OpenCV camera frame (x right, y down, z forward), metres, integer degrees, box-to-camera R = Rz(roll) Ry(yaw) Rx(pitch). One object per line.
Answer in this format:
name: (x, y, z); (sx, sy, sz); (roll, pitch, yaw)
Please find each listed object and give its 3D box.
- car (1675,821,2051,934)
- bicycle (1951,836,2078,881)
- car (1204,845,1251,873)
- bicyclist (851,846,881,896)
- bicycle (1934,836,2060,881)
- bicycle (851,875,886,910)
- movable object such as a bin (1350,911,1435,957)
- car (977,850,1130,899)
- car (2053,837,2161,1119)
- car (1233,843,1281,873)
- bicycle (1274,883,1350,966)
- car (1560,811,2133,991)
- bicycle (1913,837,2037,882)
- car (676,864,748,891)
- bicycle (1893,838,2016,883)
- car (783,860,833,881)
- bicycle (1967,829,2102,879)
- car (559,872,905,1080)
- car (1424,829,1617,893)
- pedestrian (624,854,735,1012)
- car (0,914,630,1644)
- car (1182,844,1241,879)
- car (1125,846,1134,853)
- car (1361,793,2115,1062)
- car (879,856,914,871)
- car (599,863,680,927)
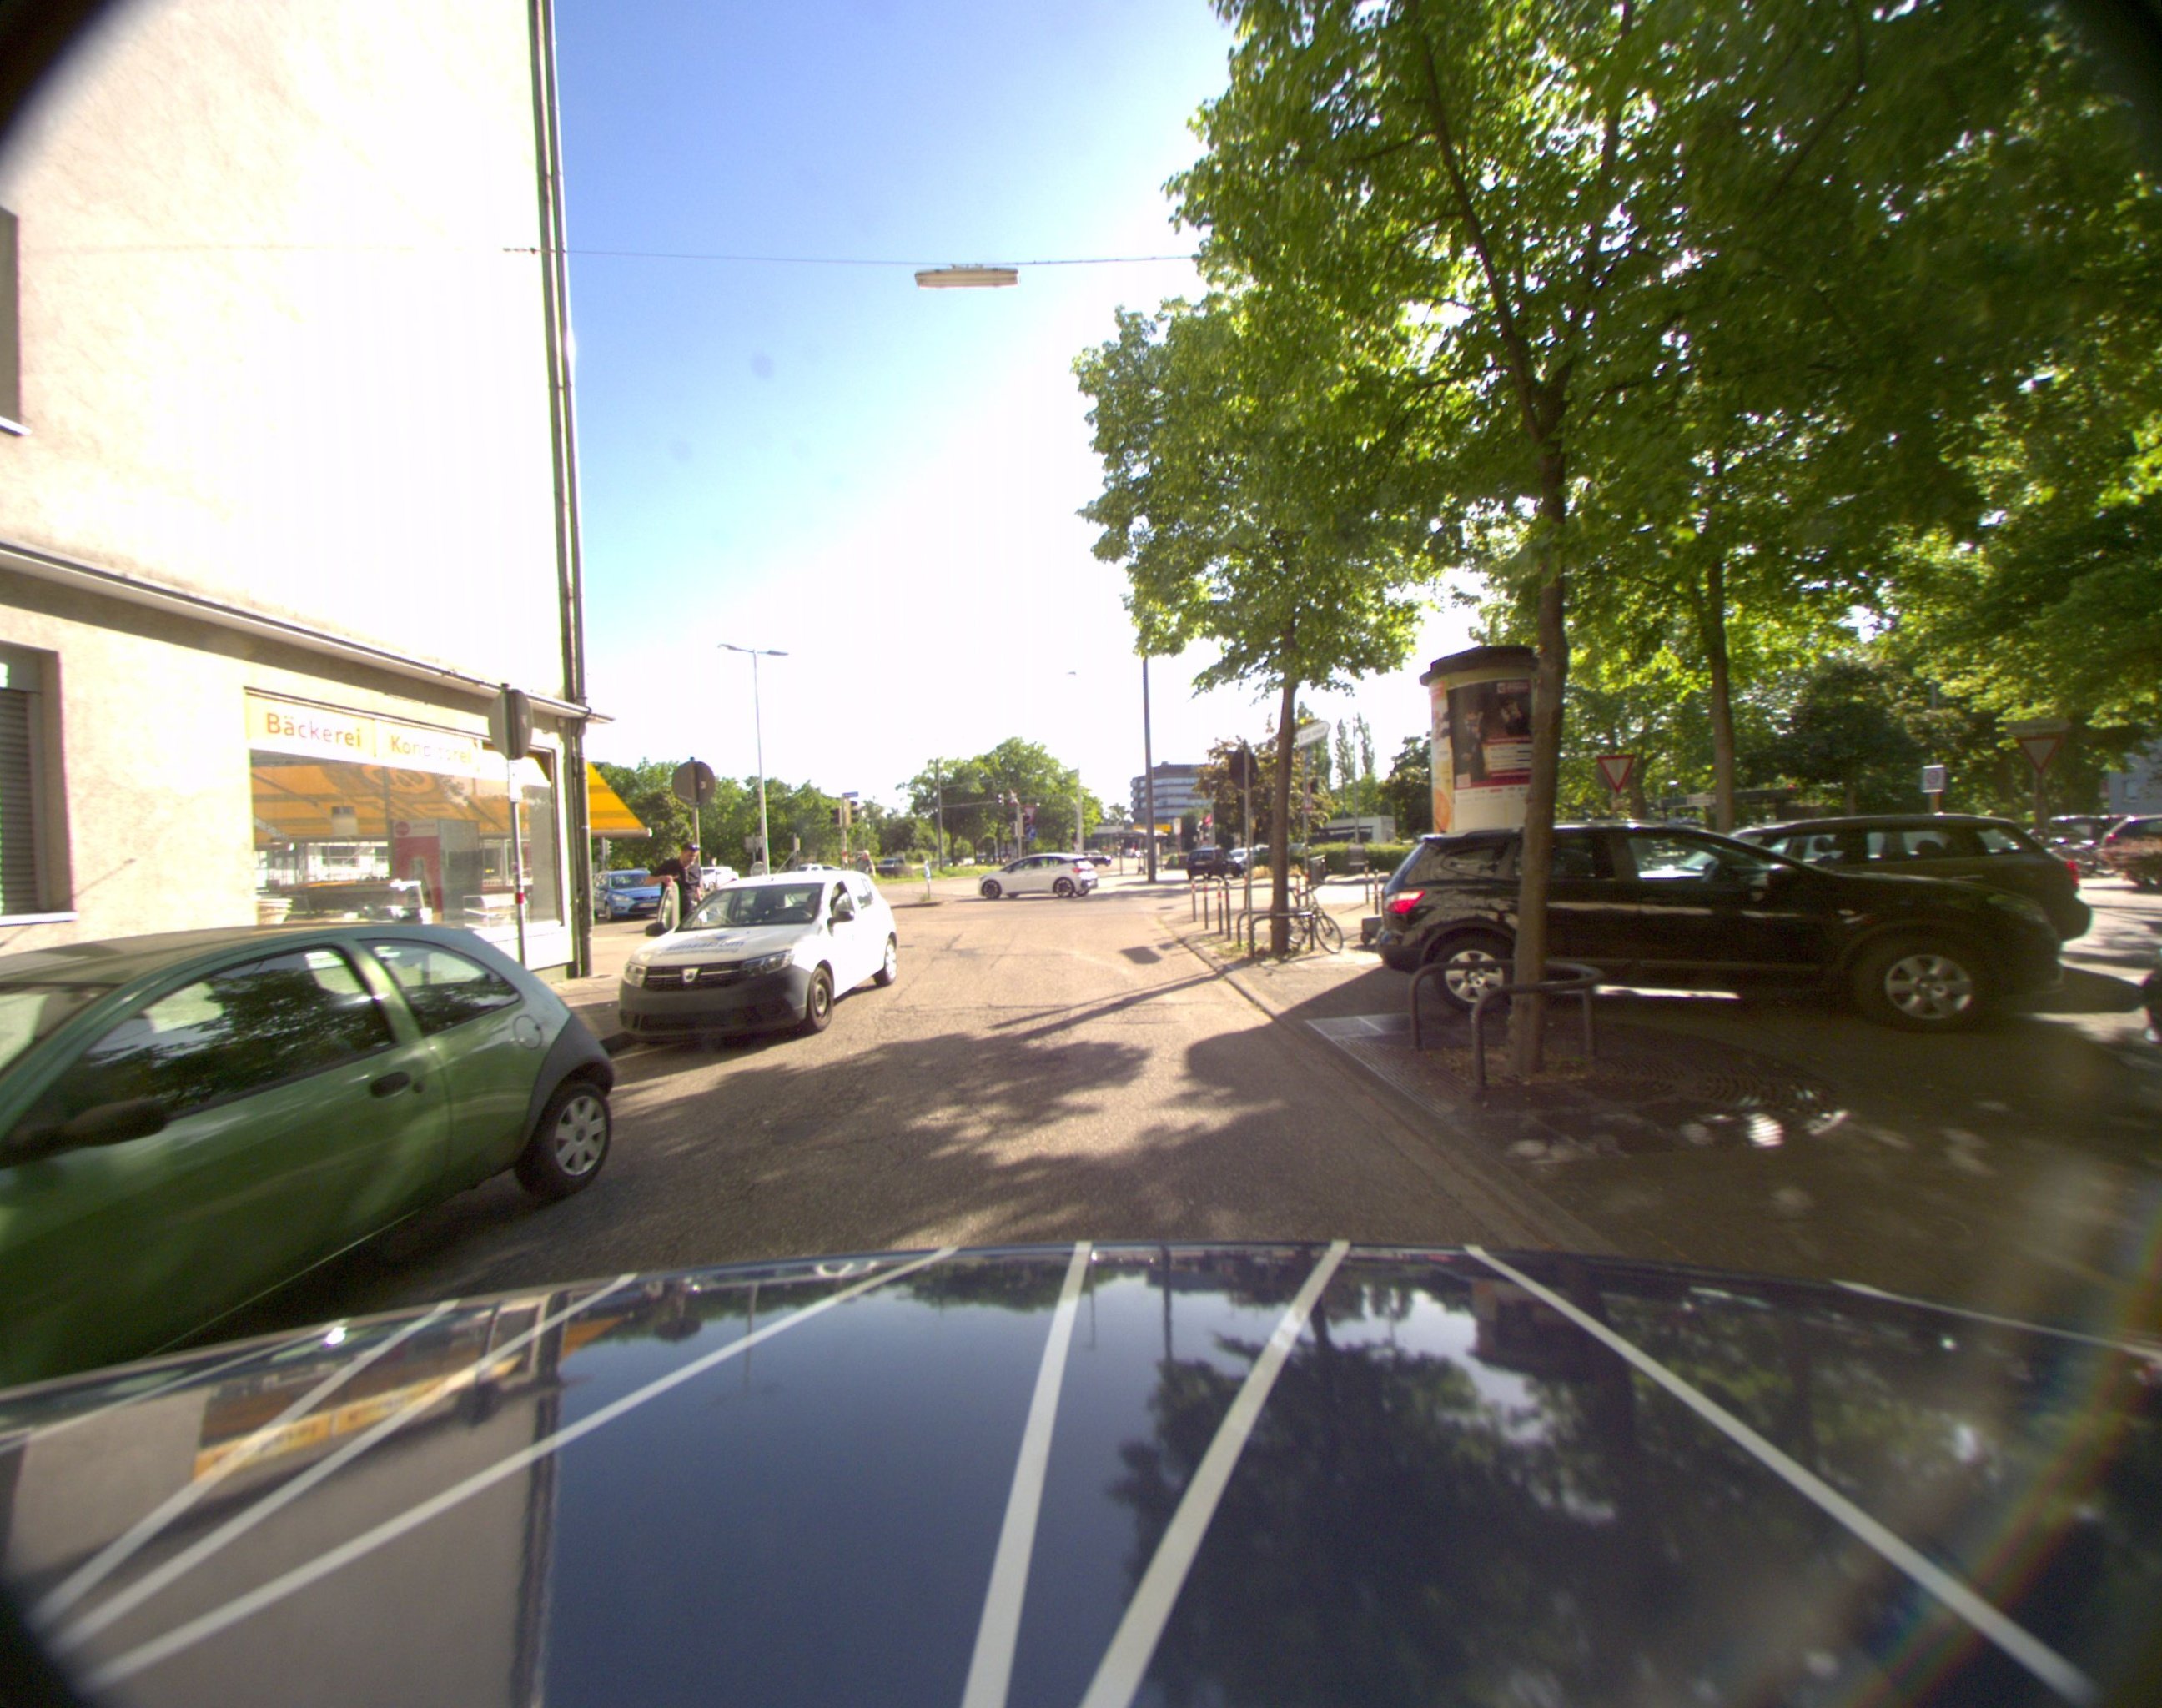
car: (12.647, 0.316, 12.808); (1.907, 1.510, 4.300); (-2, 1, 0)
bicycle: (23.080, 0.111, 18.857); (0.448, 1.025, 2.033); (-2, 0, -9)
car: (8.695, 0.257, 44.769); (1.679, 1.499, 3.602); (-2, 1, 28)
bicyclist: (-6.868, 0.529, 24.271); (0.829, 1.555, 0.595); (-2, 1, -22)
bicycle: (22.495, 0.110, 18.728); (0.448, 1.025, 2.033); (-2, 0, -9)
bicycle: (-6.775, 1.194, 24.160); (0.830, 0.981, 1.943); (-2, 1, -22)
movable object such as a bin: (4.700, 1.194, 11.533); (0.578, 0.562, 1.112); (-3, 1, -21)
car: (-0.977, 0.730, 26.960); (5.026, 1.510, 1.926); (-2, 1, 21)
car: (7.173, 0.575, 2.848); (3.940, 1.414, 1.824); (-2, 1, 24)
car: (10.098, 0.177, 43.495); (1.795, 1.571, 4.006); (-2, 1, 26)
bicycle: (3.388, 0.996, 11.251); (0.354, 1.066, 1.591); (-3, 1, -11)
car: (7.820, 0.460, 8.355); (3.991, 1.601, 1.925); (-2, 1, 21)
bicycle: (21.894, 0.141, 18.671); (0.448, 1.025, 2.033); (-2, 0, -9)
car: (-23.425, 1.464, 48.447); (1.871, 1.447, 4.487); (-2, 0, 8)
bicycle: (21.394, 0.158, 18.680); (0.469, 1.025, 2.033); (-2, 0, -9)
car: (-21.949, 1.317, 61.256); (1.871, 1.447, 4.487); (-2, 0, 8)
bicycle: (23.752, 0.004, 18.994); (0.668, 1.170, 2.033); (-2, 0, -9)
car: (-3.271, 1.029, 8.118); (1.723, 1.489, 4.023); (-2, 0, 1)
car: (12.422, 0.179, 21.596); (4.484, 1.543, 1.904); (-2, 1, -7)
pedestrian: (-4.565, 0.870, 8.693); (0.760, 1.712, 0.745); (-2, 1, 6)
car: (-3.278, 1.097, 2.243); (1.600, 1.455, 3.672); (-2, 1, 1)
car: (6.397, 0.342, 37.056); (1.680, 1.499, 3.602); (-4, 0, 28)
car: (13.201, -1.234, 206.409); (1.998, 2.002, 4.000); (-2, 1, 1)
car: (4.908, 0.569, 6.560); (4.326, 1.661, 1.840); (-4, 0, 30)
car: (-19.020, 0.977, 78.554); (1.871, 1.447, 4.487); (-2, 0, 8)
car: (-14.087, 1.216, 24.104); (1.877, 1.765, 4.474); (-3, 1, -34)
